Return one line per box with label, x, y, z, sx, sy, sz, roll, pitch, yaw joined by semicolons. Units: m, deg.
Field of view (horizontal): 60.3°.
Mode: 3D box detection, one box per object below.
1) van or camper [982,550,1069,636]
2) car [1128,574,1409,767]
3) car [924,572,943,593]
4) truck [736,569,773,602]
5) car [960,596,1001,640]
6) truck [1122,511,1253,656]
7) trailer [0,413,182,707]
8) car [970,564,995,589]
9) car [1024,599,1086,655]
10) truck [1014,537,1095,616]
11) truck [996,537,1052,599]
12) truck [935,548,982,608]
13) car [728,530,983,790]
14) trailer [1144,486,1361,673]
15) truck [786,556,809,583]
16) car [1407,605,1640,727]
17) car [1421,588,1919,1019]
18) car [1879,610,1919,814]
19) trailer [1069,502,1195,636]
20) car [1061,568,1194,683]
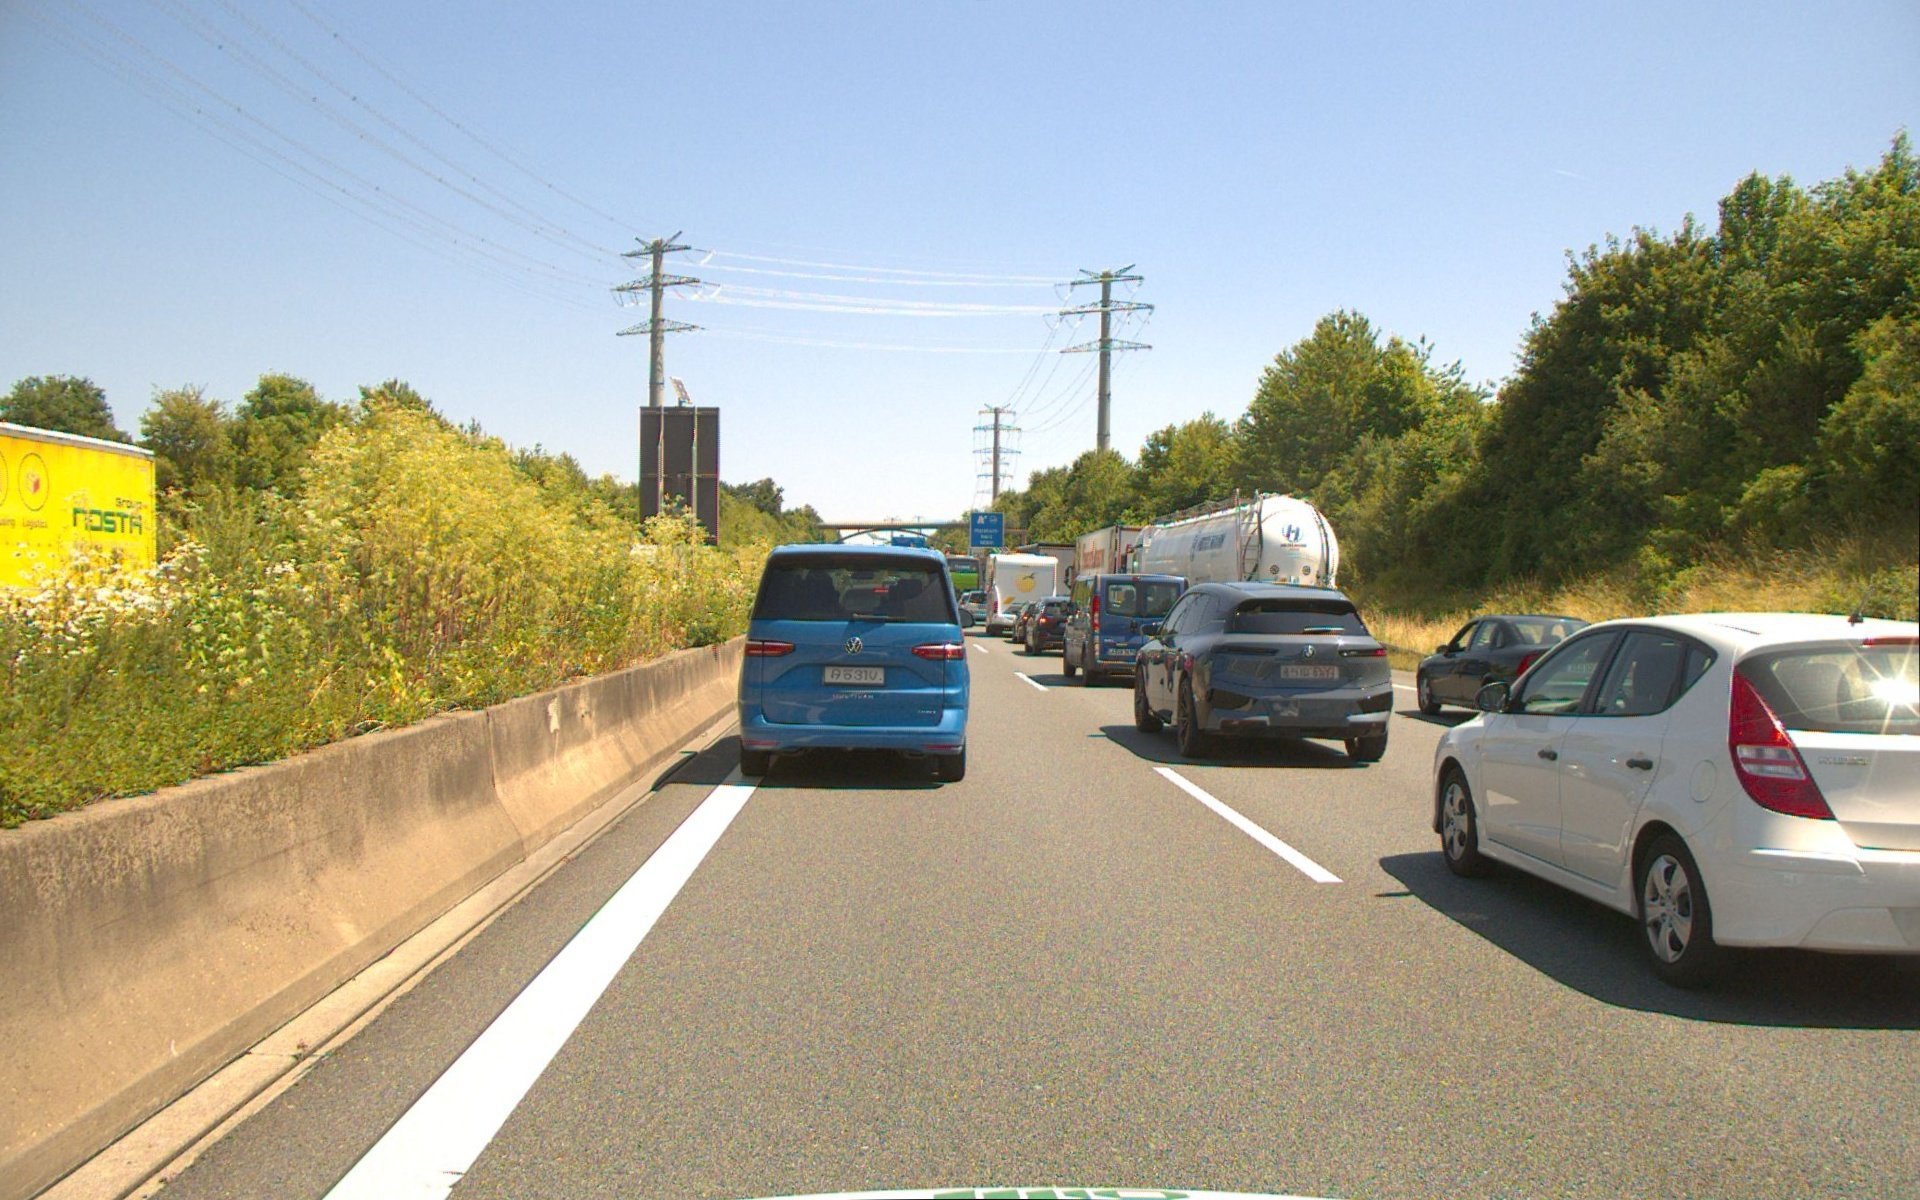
van or camper;2.414;-0.249;63.456;2.897;3.075;7.101;1;0;-1
car;3.054;0.665;17.378;1.959;1.745;4.623;0;-1;-2
car;-2.899;-1.929;180.327;1.954;2.163;3.997;1;0;-3
truck;-22.212;-1.530;179.154;2.709;3.346;11.816;0;0;-1
car;0.954;0.867;78.584;1.799;2.033;3.999;0;-1;-1
truck;6.443;-0.456;47.654;2.737;3.903;5.569;0;0;-3
trailer;-15.410;-0.614;24.665;2.765;4.280;10.680;2;-1;-2
car;1.963;-2.001;143.619;1.953;2.049;3.998;1;0;-2
car;2.526;0.713;44.515;1.333;1.445;3.883;0;-1;-2
truck;4.907;-1.111;89.254;2.945;3.832;15.707;1;0;-2
truck;4.200;-2.055;111.690;2.837;3.832;13.340;1;0;-2
truck;-0.161;-1.385;111.324;2.837;3.832;10.136;1;0;-2
car;-0.875;0.450;14.640;1.882;1.919;3.998;2;0;-2
trailer;6.802;-0.445;40.543;2.706;3.912;11.479;0;0;-3
truck;-23.417;-4.414;239.151;3.010;3.774;5.460;1;0;-3
car;7.314;0.814;21.861;1.608;1.441;3.987;0;-1;-2
car;3.686;0.742;7.854;1.780;1.511;3.998;0;-1;-2
car;7.895;0.842;10.544;1.696;1.468;4.026;0;1;-3
trailer;6.244;-1.060;62.214;2.854;4.547;12.147;0;0;-3
car;3.011;0.463;30.567;1.885;1.959;4.234;0;-1;-2
